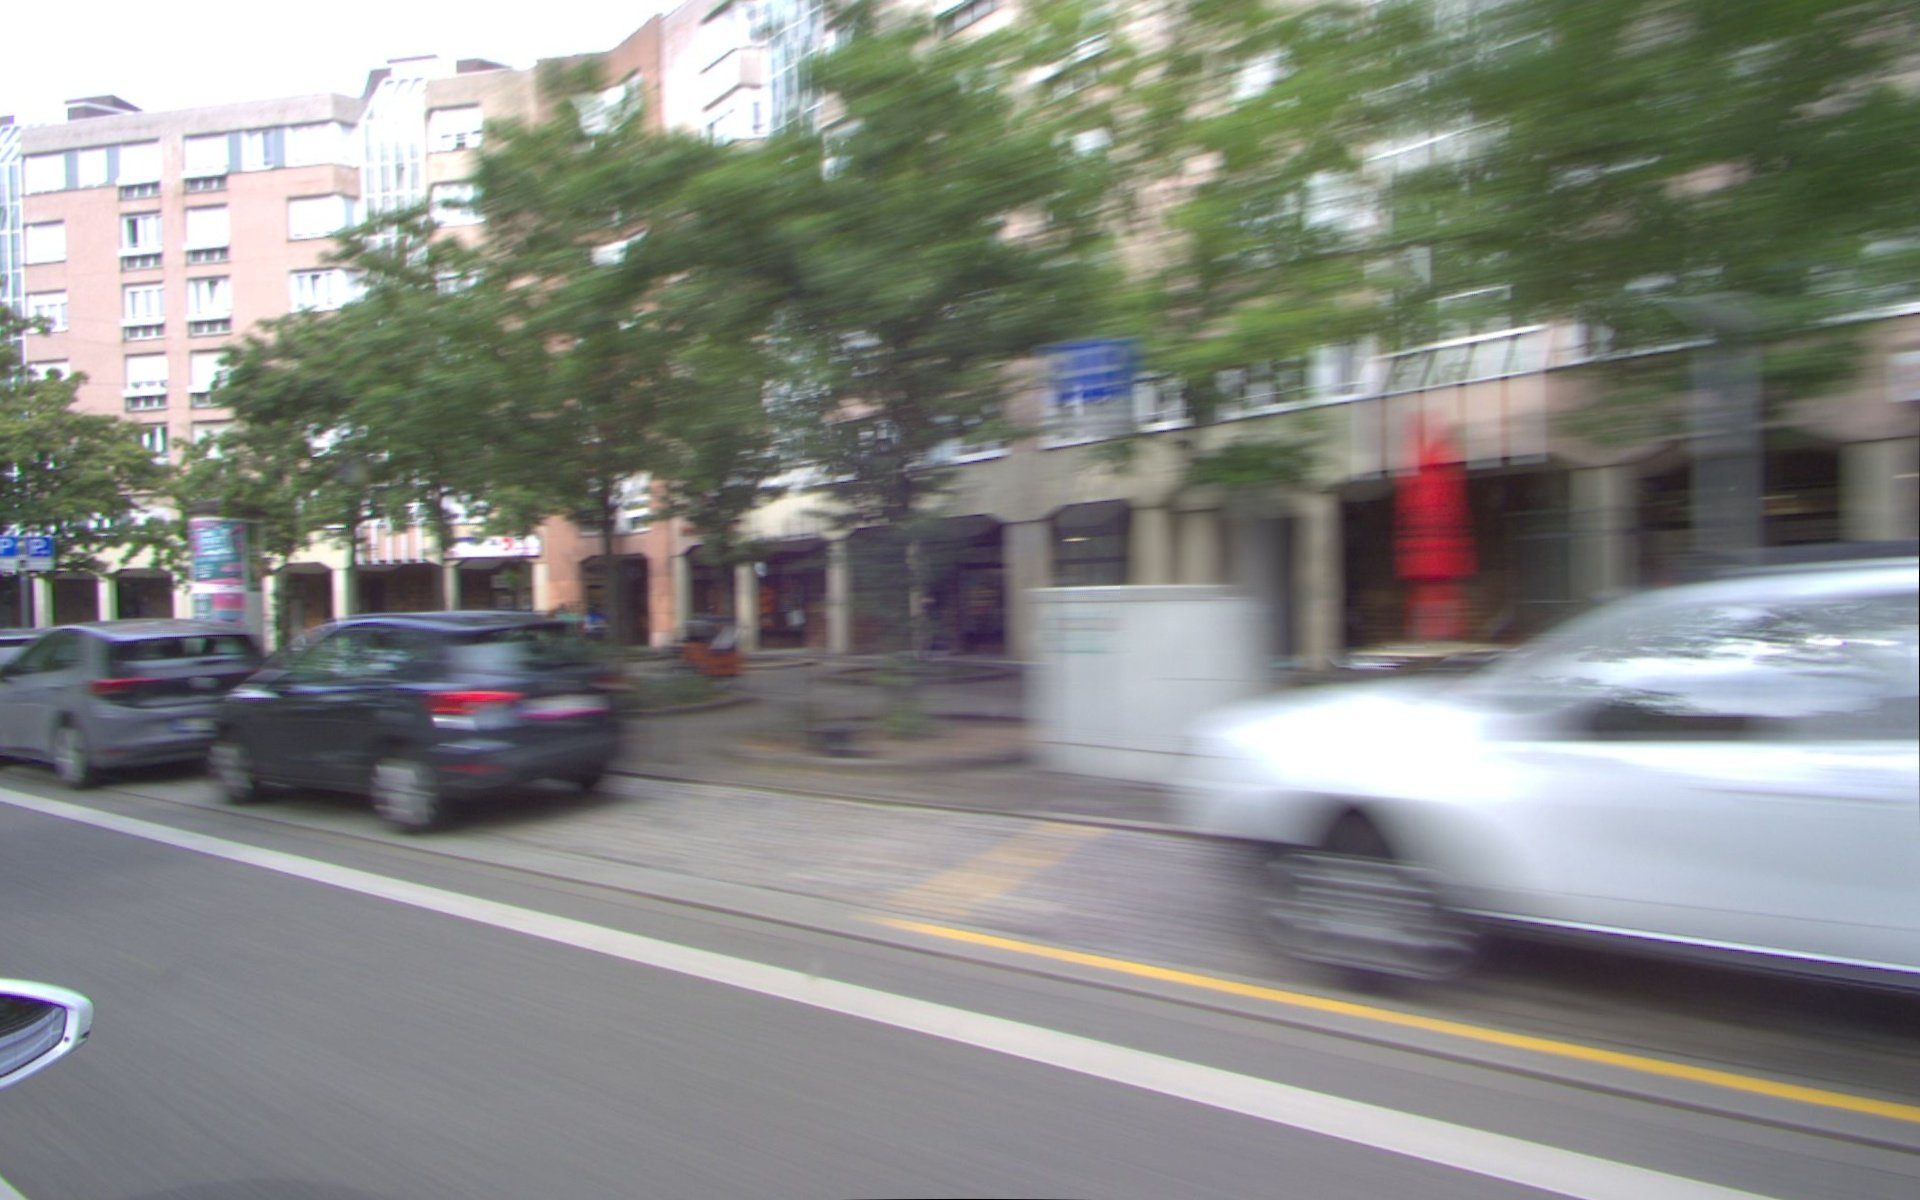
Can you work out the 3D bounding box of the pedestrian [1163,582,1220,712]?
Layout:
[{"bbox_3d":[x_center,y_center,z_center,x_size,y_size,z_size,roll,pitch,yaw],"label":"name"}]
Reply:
[{"bbox_3d":[2.917,0.580,12.636,0.508,1.590,0.478,-1,0,-22],"label":"pedestrian"}]

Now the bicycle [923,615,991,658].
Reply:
[{"bbox_3d":[-0.087,0.907,25.153,1.841,1.026,0.483,-1,0,42],"label":"bicycle"}]

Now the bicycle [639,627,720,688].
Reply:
[{"bbox_3d":[-5.079,1.016,18.046,1.841,1.026,0.483,-1,0,42],"label":"bicycle"}]

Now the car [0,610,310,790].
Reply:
[{"bbox_3d":[-8.966,0.916,10.748,4.340,1.539,1.735,-1,1,34],"label":"car"}]

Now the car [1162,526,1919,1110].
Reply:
[{"bbox_3d":[3.055,0.614,3.771,4.108,1.675,1.855,-1,1,36],"label":"car"}]

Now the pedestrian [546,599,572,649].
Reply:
[{"bbox_3d":[-13.769,0.816,34.396,0.842,1.684,0.530,0,0,45],"label":"pedestrian"}]

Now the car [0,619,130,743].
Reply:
[{"bbox_3d":[-13.367,1.030,13.773,4.603,1.462,1.811,-1,1,35],"label":"car"}]

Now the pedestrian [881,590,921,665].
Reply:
[{"bbox_3d":[-1.367,0.630,23.186,0.674,1.684,0.602,0,0,42],"label":"pedestrian"}]

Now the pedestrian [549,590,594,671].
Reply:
[{"bbox_3d":[-7.858,0.605,20.242,0.674,1.607,0.602,0,0,42],"label":"pedestrian"}]

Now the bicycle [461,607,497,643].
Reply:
[{"bbox_3d":[-15.586,0.797,32.465,0.586,1.127,1.962,-1,0,-12],"label":"bicycle"}]

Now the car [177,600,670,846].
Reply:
[{"bbox_3d":[-4.526,0.822,8.291,4.143,1.539,1.711,-1,2,32],"label":"car"}]

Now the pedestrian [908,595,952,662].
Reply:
[{"bbox_3d":[-0.714,0.666,23.837,0.705,1.576,0.791,-2,1,-45],"label":"pedestrian"}]
